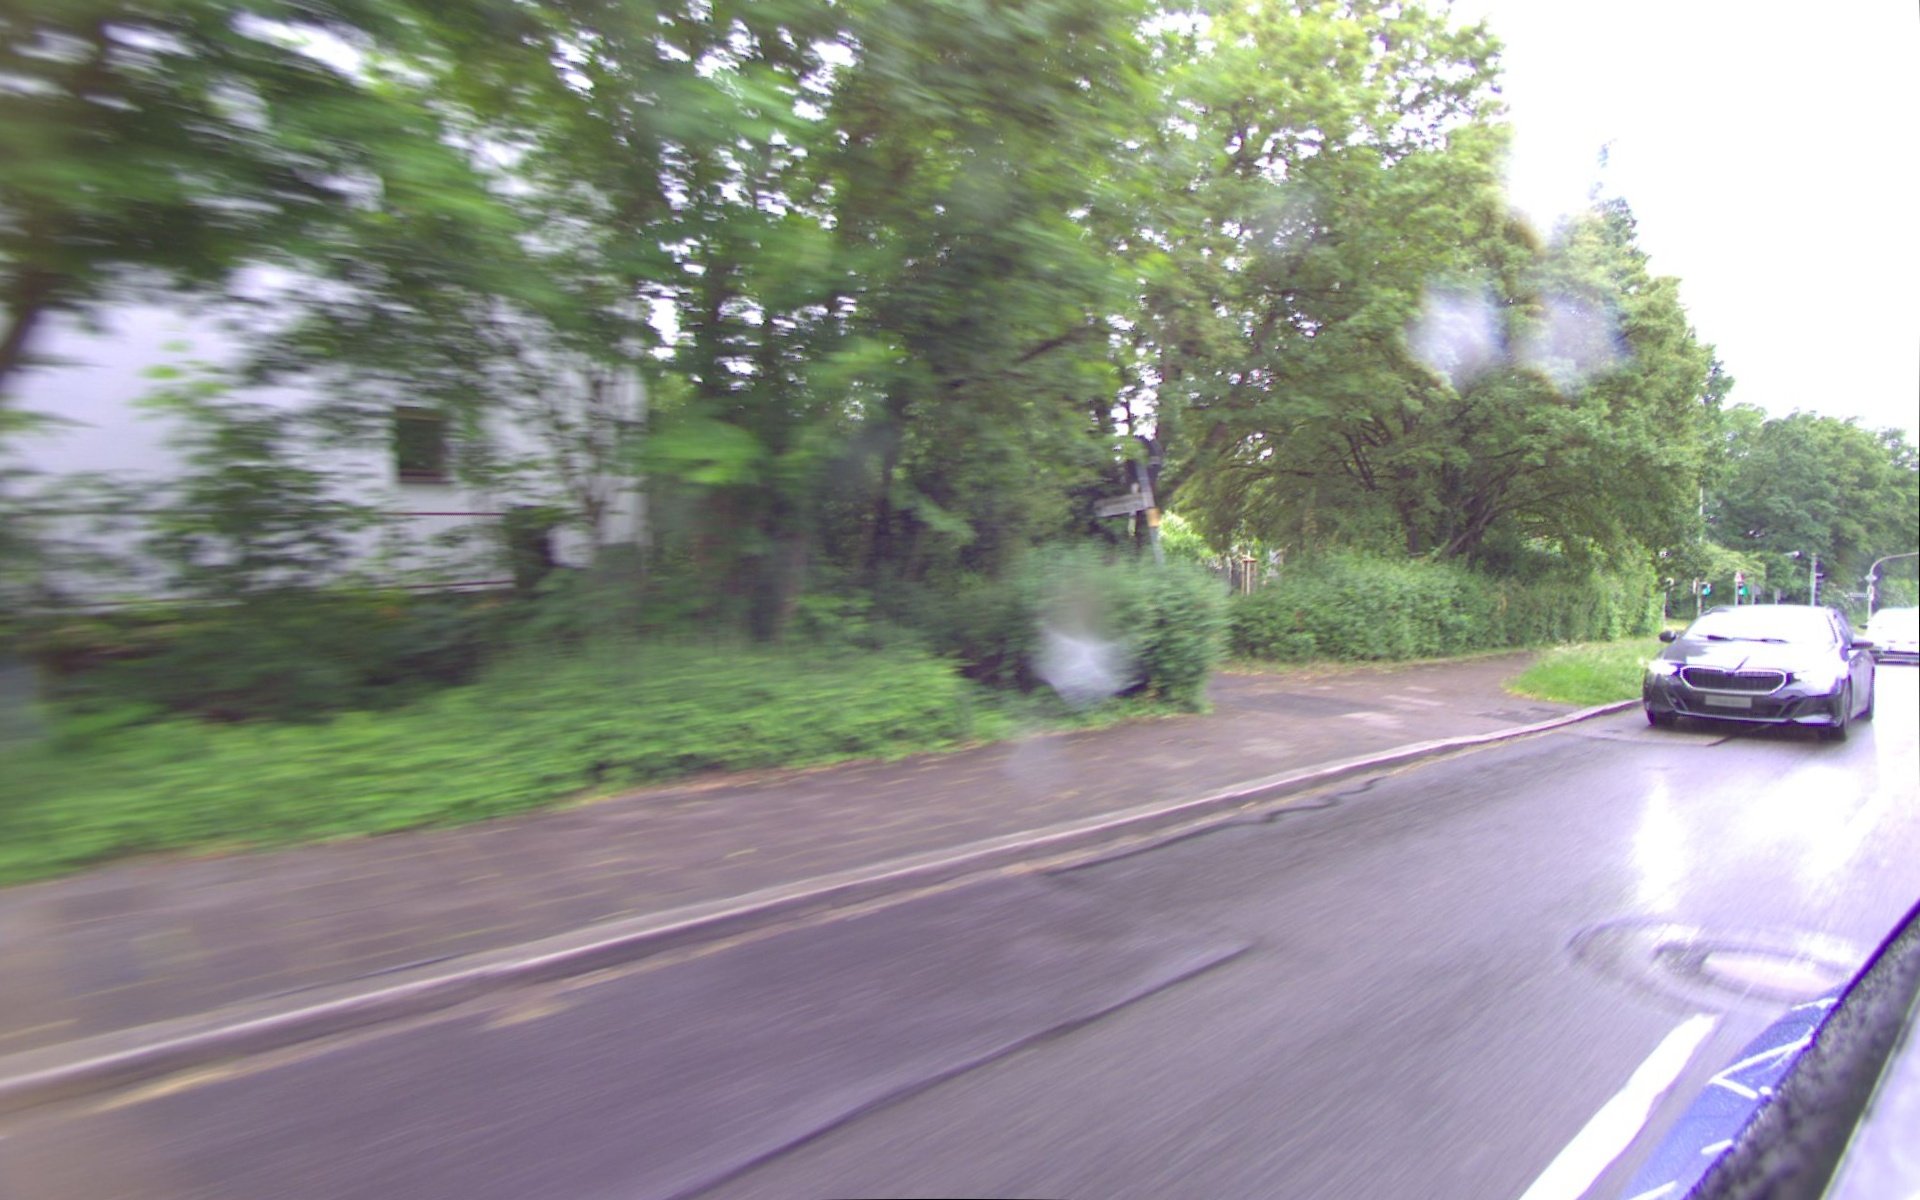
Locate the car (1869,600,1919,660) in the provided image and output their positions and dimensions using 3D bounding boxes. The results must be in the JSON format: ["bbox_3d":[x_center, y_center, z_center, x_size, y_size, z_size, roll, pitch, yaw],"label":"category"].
[{"bbox_3d":[27.208,0.839,28.646,4.050,1.575,1.812,1,2,-43],"label":"car"}]

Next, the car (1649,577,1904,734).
[{"bbox_3d":[10.206,0.555,12.542,4.050,1.575,1.865,0,2,-43],"label":"car"}]
